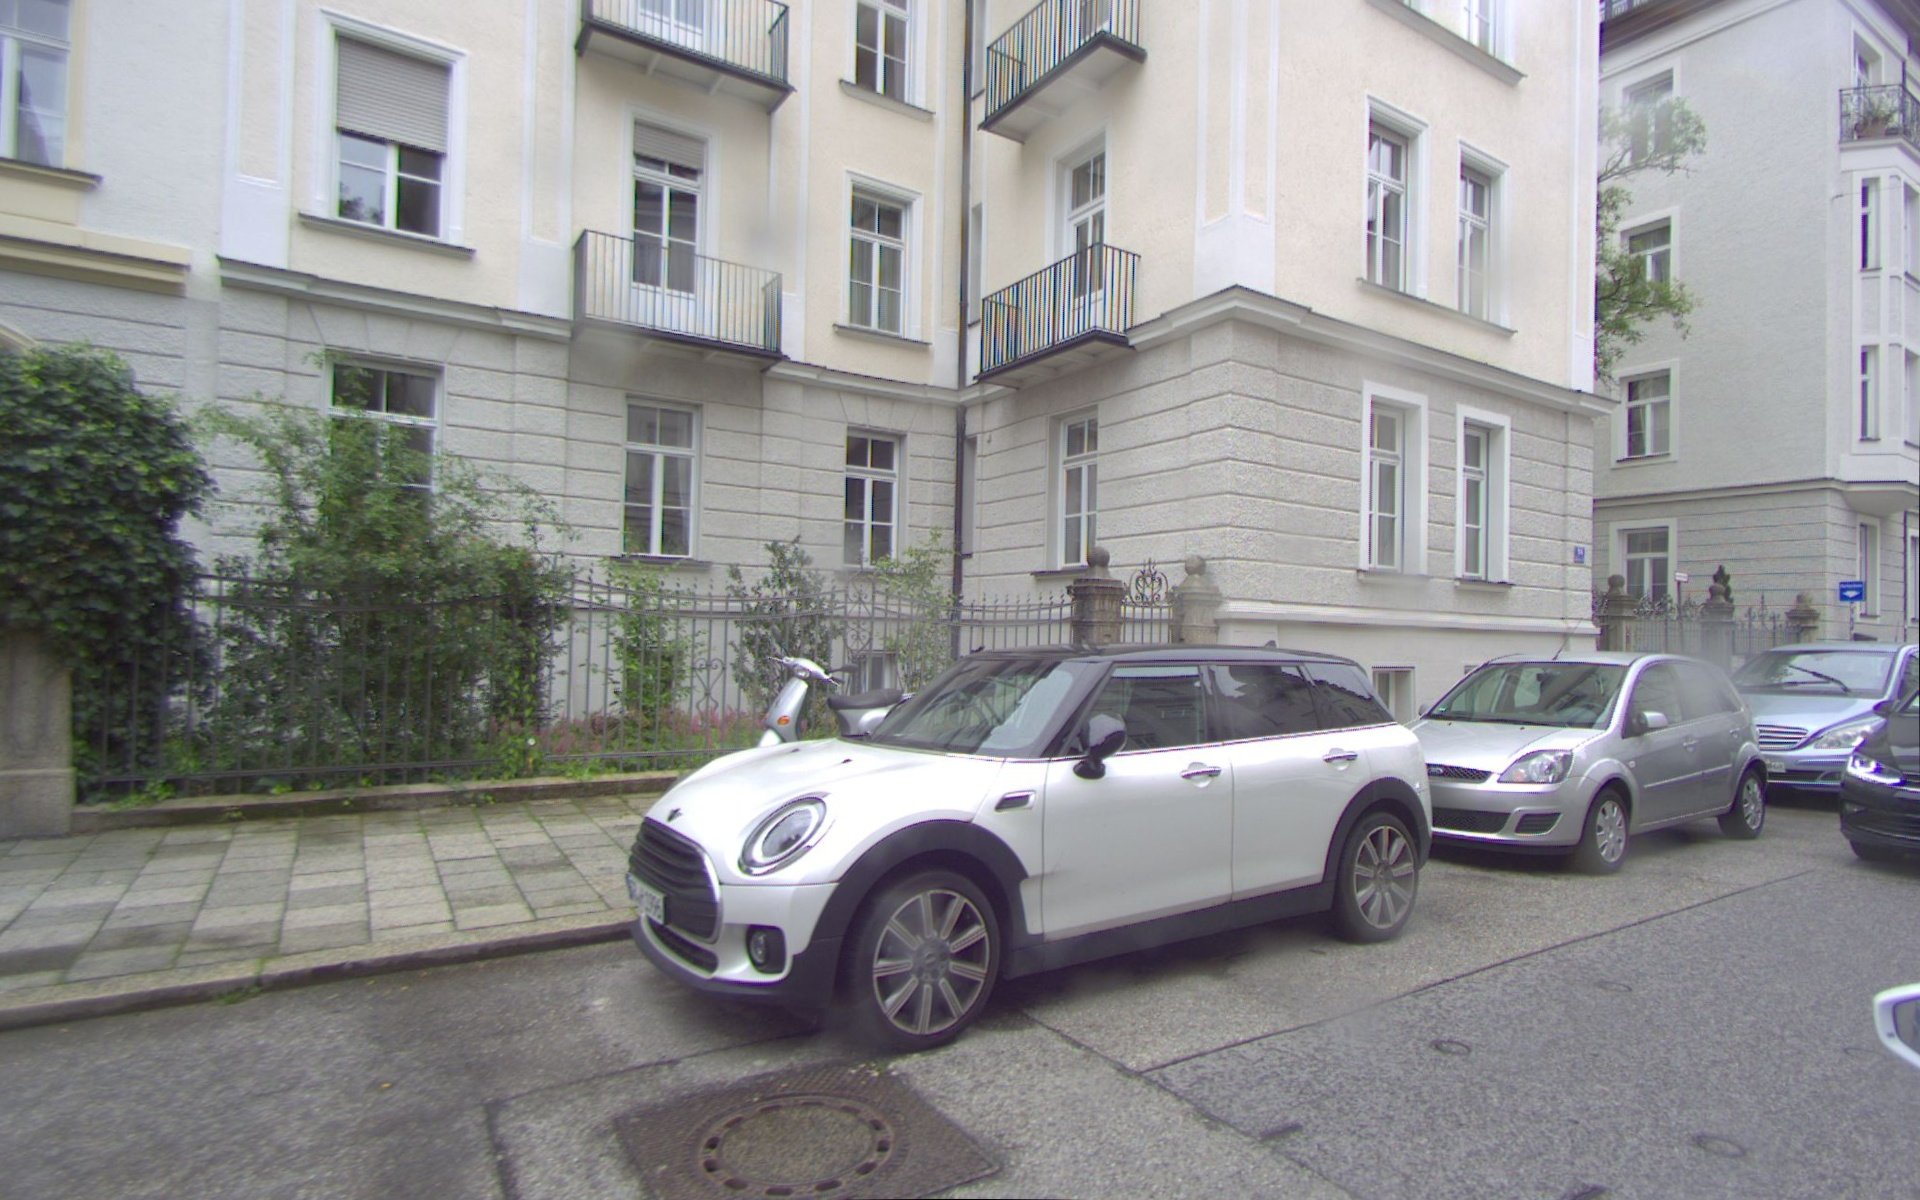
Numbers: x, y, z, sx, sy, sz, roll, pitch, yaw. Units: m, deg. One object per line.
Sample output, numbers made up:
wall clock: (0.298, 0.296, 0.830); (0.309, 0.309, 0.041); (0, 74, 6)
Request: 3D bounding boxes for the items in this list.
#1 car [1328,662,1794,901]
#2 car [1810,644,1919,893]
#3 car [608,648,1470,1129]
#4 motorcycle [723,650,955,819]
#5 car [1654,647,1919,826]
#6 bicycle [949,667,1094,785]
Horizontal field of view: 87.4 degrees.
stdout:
car: (4.818, 1.208, 7.894); (3.960, 1.421, 1.635); (2, -4, -35)
car: (7.895, 1.104, 7.079); (4.040, 1.553, 1.716); (2, -4, -32)
car: (0.542, 1.013, 5.015); (4.035, 1.453, 1.787); (2, -2, -33)
motorcycle: (-1.008, 1.092, 8.560); (1.802, 1.266, 0.700); (3, 0, -33)
car: (9.422, 1.319, 10.838); (4.016, 1.601, 1.688); (1, -4, -32)
bicycle: (0.625, 1.226, 10.029); (1.404, 1.075, 0.429); (2, 2, -31)
